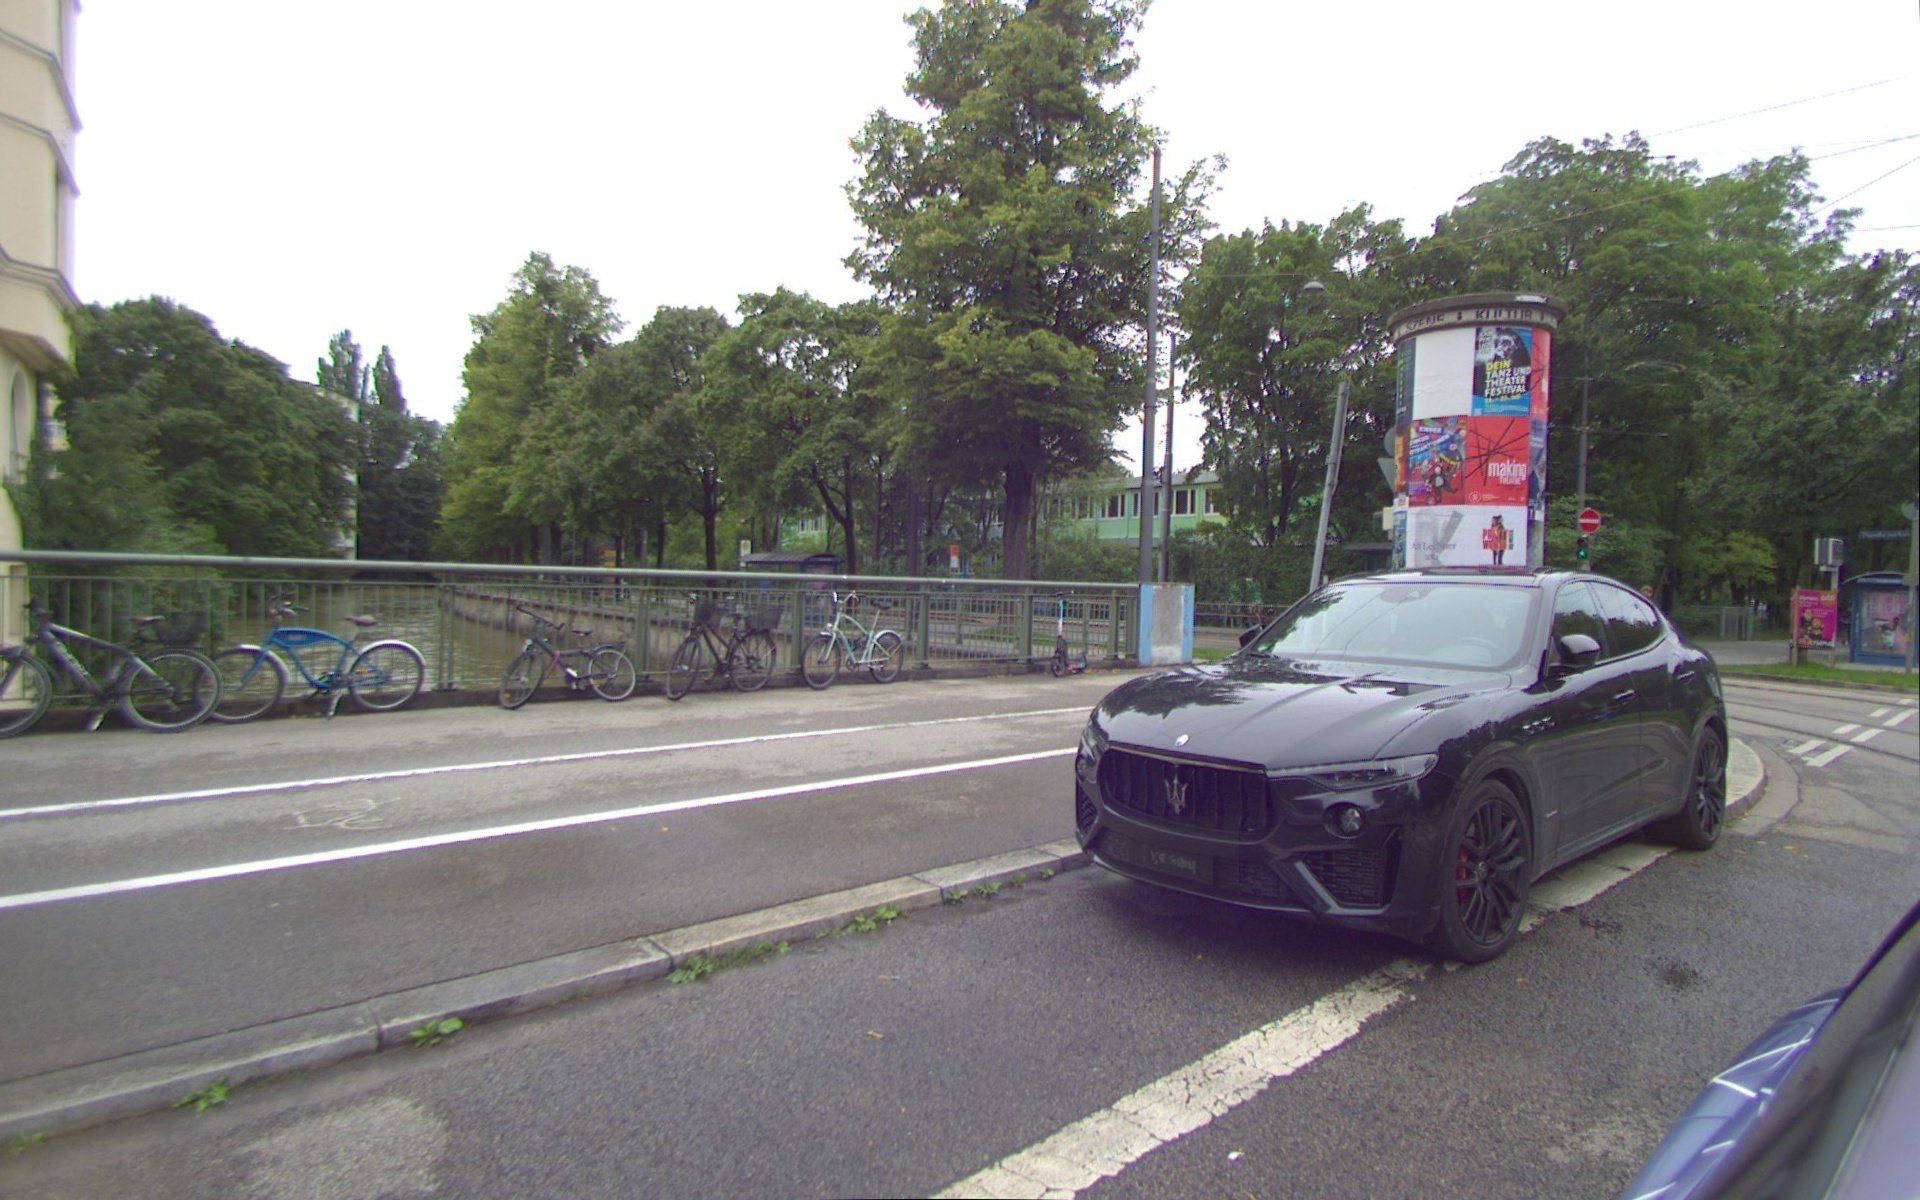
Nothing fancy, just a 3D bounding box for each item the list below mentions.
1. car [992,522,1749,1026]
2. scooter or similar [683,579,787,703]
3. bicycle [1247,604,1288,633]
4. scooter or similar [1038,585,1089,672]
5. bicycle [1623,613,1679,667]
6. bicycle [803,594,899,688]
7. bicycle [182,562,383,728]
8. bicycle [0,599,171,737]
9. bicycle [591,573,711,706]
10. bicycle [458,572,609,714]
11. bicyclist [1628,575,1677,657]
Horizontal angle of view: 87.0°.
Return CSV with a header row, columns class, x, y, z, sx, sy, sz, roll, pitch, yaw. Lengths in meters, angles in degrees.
class,x,y,z,sx,sy,sz,roll,pitch,yaw
car,2.508,0.583,5.497,4.582,1.630,1.905,1,-1,-40
scooter or similar,-2.462,0.423,11.213,0.242,1.279,1.482,0,0,27
bicycle,11.141,0.668,36.701,0.366,0.964,1.484,0,1,-38
scooter or similar,1.515,0.397,14.745,0.224,1.227,1.006,0,0,40
bicycle,15.006,0.849,21.954,1.879,1.092,0.579,0,0,-42
bicycle,-1.312,0.471,12.440,0.263,1.096,1.523,0,0,34
bicycle,-5.668,0.348,8.533,0.281,1.298,1.391,0,0,38
bicycle,-6.789,0.495,7.782,0.247,0.946,1.133,5,4,28
bicycle,-3.194,0.381,10.569,0.280,1.298,1.395,0,0,30
bicycle,-4.112,0.388,9.835,0.281,1.298,1.391,0,0,38
bicyclist,15.055,0.332,22.008,0.714,1.751,0.725,0,0,-42
